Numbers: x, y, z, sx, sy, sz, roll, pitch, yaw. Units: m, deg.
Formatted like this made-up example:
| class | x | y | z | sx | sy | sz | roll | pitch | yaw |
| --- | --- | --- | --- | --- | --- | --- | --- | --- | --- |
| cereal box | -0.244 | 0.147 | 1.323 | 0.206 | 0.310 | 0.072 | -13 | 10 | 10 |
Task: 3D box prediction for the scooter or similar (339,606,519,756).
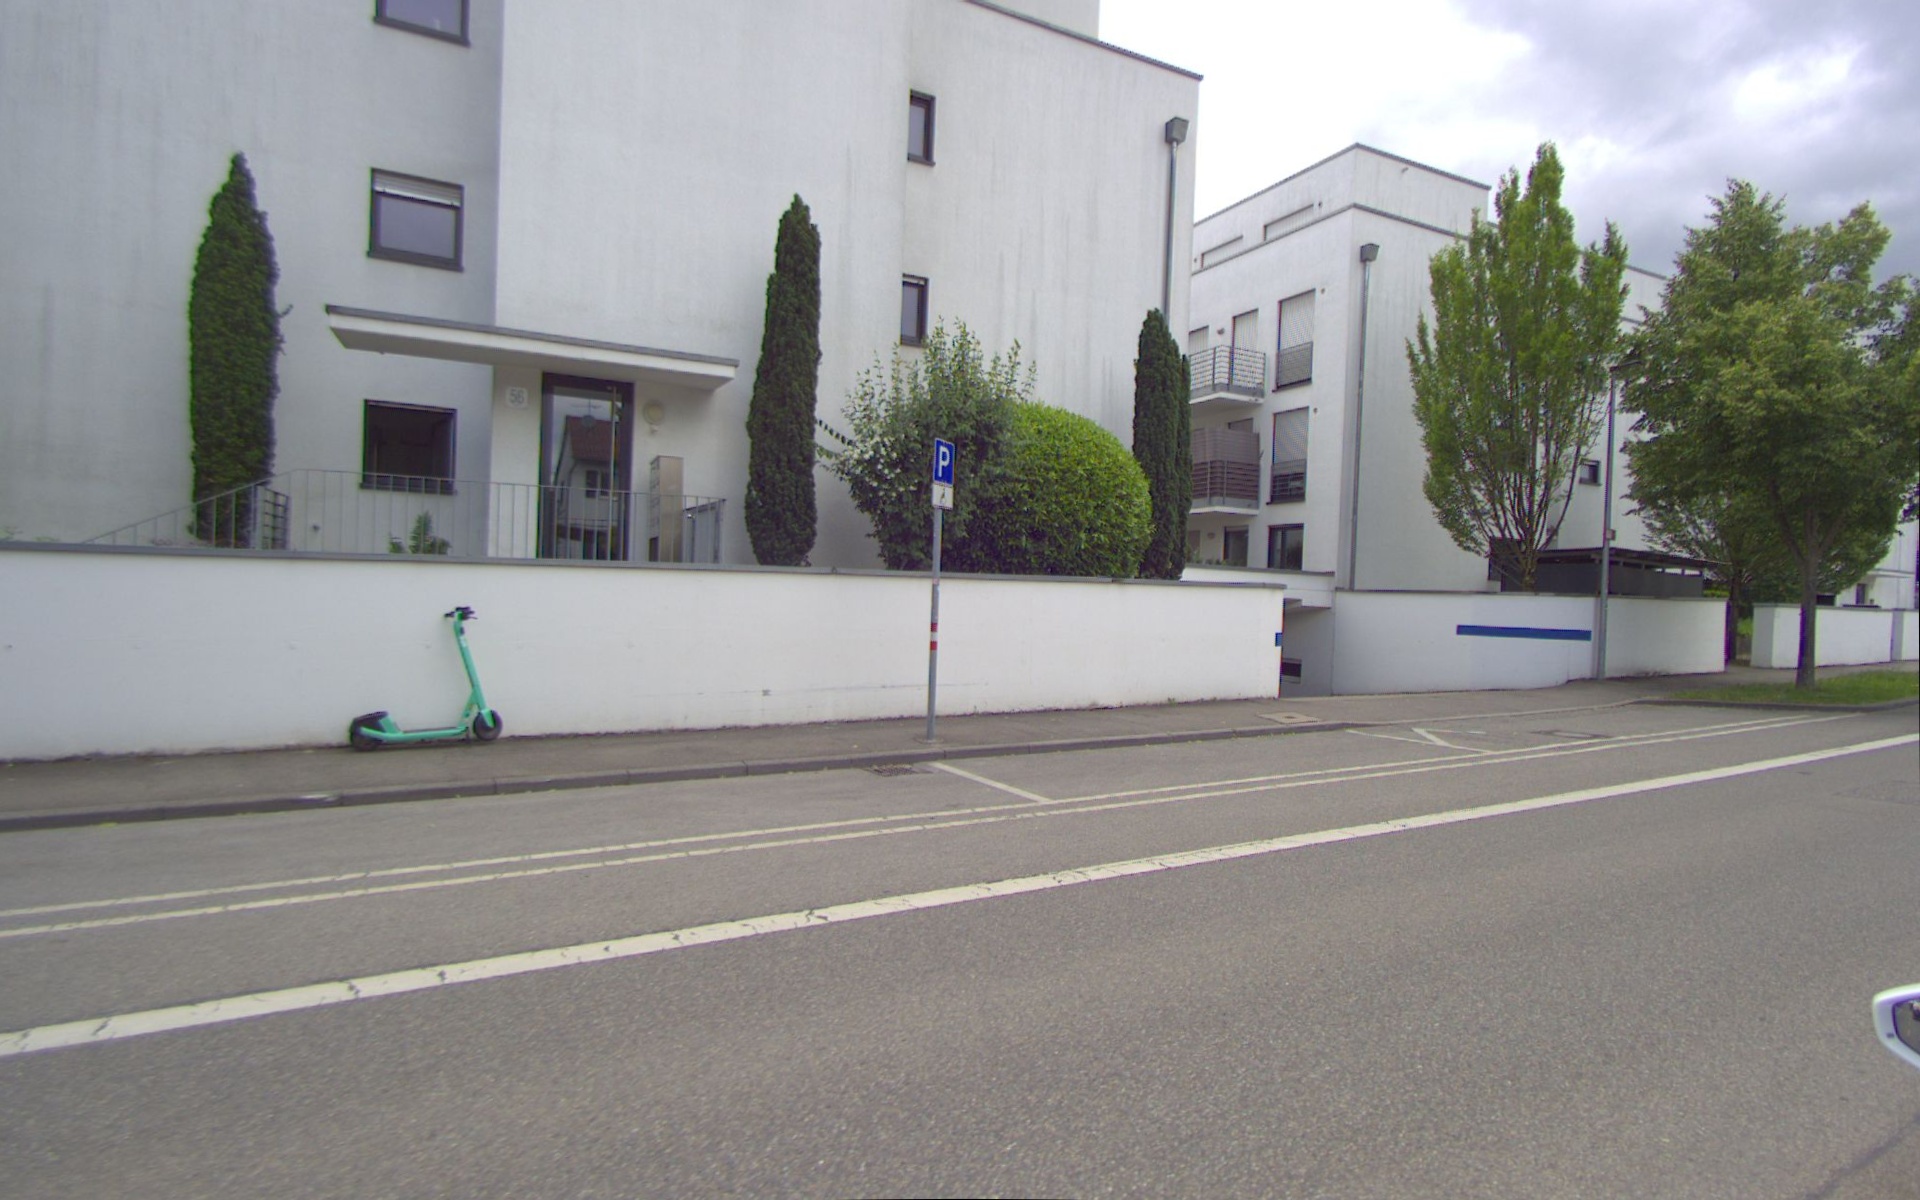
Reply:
| class | x | y | z | sx | sy | sz | roll | pitch | yaw |
| --- | --- | --- | --- | --- | --- | --- | --- | --- | --- |
| scooter or similar | -4.521 | 0.670 | 8.589 | 1.312 | 1.182 | 0.431 | 1 | 3 | -31 |
